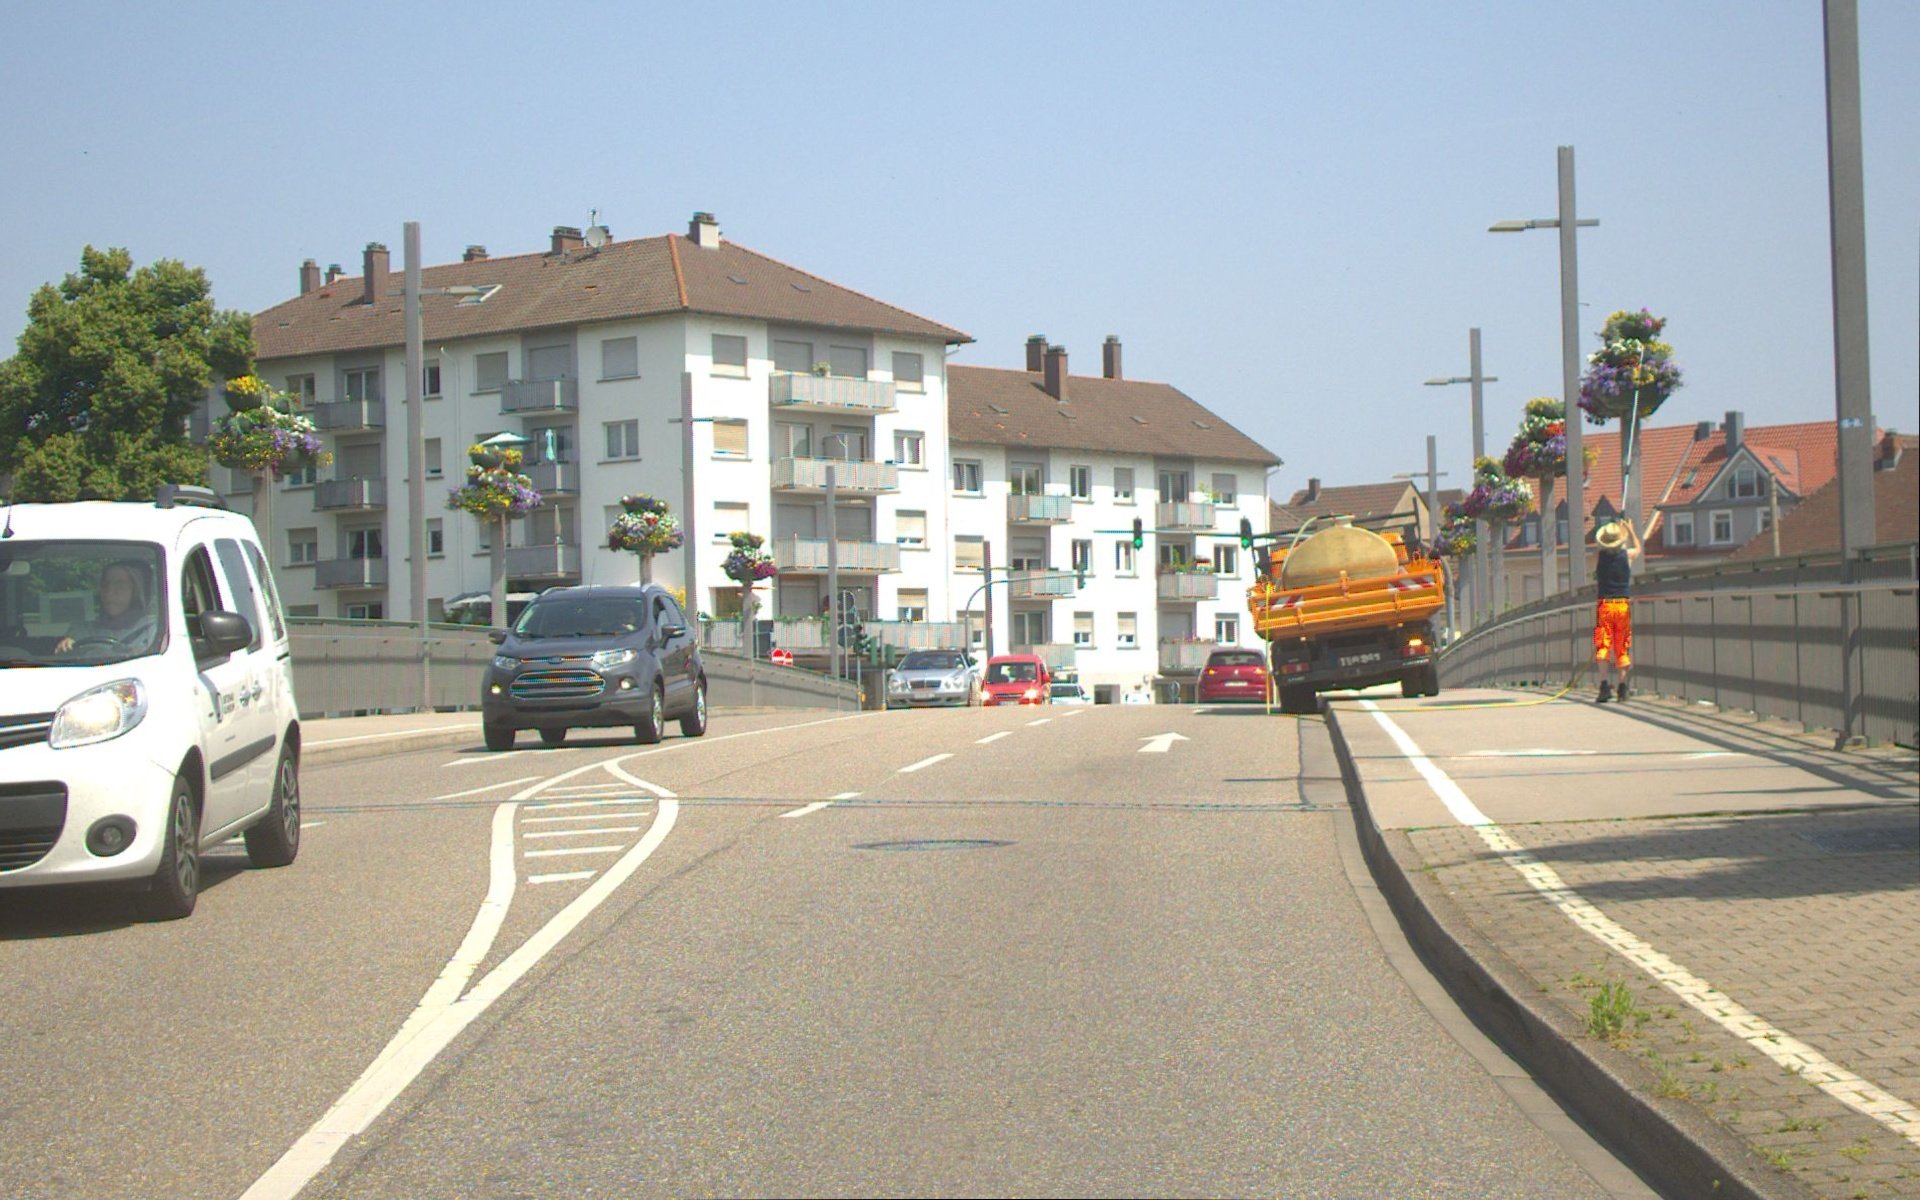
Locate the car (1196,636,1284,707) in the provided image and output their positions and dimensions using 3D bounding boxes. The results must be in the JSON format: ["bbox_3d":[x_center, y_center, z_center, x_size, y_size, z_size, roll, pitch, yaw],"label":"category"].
[{"bbox_3d":[6.709,1.730,82.675,1.990,1.607,4.341,-2,-1,4],"label":"car"}]

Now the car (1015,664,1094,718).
[{"bbox_3d":[2.838,2.732,102.283,1.844,1.427,4.711,-3,-3,7],"label":"car"}]

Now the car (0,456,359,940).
[{"bbox_3d":[-4.094,0.397,15.665,1.837,1.854,4.663,-2,0,0],"label":"car"}]

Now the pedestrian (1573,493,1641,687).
[{"bbox_3d":[6.603,-0.092,35.080,0.547,1.953,0.672,-2,-2,19],"label":"pedestrian"}]

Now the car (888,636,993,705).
[{"bbox_3d":[-0.365,1.460,71.282,1.699,1.354,4.455,-1,-1,6],"label":"car"}]

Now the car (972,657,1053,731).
[{"bbox_3d":[1.341,2.373,86.322,1.736,1.771,4.175,-1,-2,5],"label":"car"}]

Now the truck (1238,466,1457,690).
[{"bbox_3d":[5.057,-0.217,45.097,2.606,2.682,5.821,-1,-1,6],"label":"truck"}]

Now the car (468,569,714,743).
[{"bbox_3d":[-3.742,0.542,35.464,1.737,1.635,3.920,-2,0,5],"label":"car"}]
